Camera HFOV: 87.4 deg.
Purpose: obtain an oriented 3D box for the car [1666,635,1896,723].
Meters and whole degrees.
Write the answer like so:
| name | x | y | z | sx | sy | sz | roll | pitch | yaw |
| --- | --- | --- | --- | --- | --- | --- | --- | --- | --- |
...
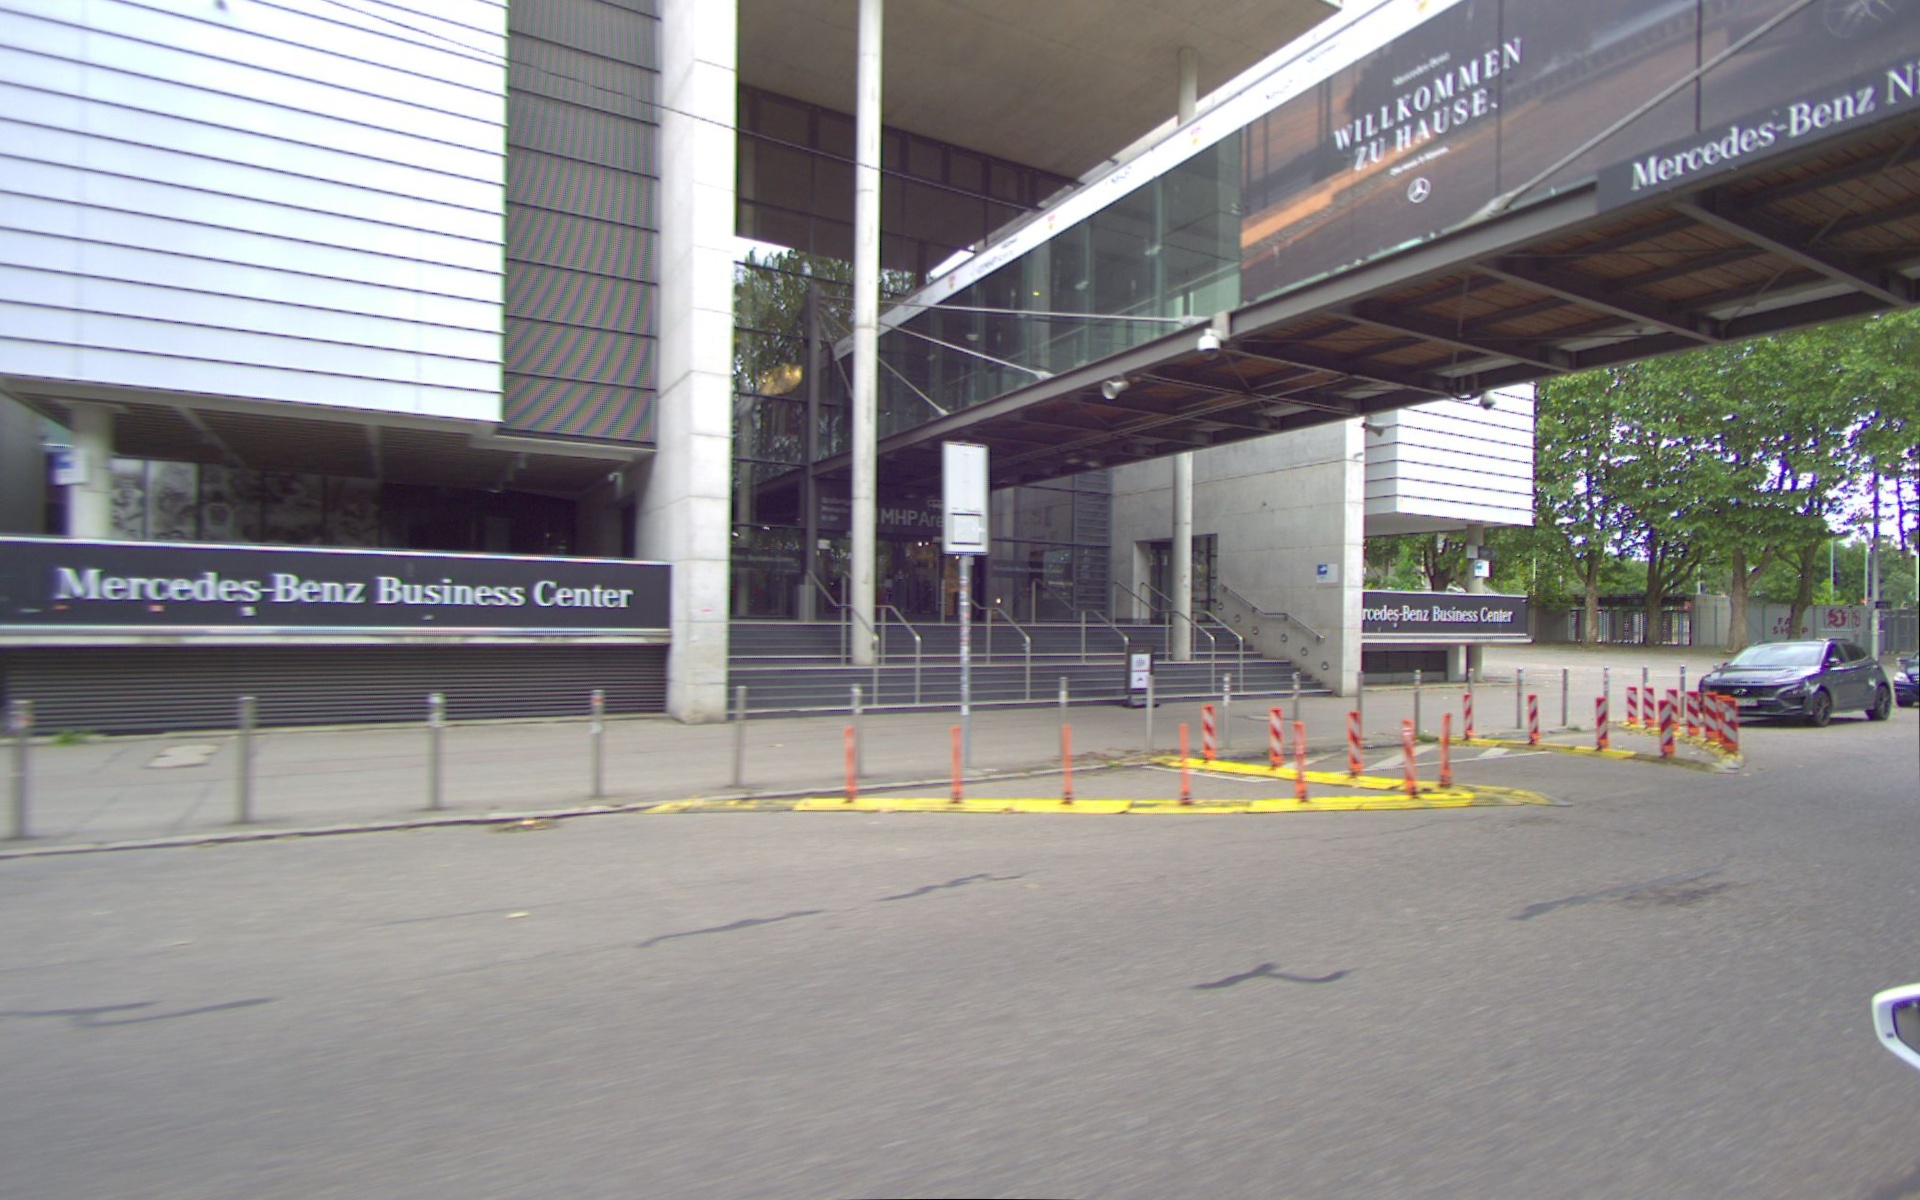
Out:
| name | x | y | z | sx | sy | sz | roll | pitch | yaw |
| --- | --- | --- | --- | --- | --- | --- | --- | --- | --- |
| car | 15.478 | 1.427 | 18.904 | 4.395 | 1.472 | 1.850 | 1 | -4 | -30 |

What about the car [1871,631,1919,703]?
| name | x | y | z | sx | sy | sz | roll | pitch | yaw |
| --- | --- | --- | --- | --- | --- | --- | --- | --- | --- |
| car | 23.254 | 1.520 | 23.266 | 4.064 | 1.605 | 1.985 | 1 | -4 | -30 |
